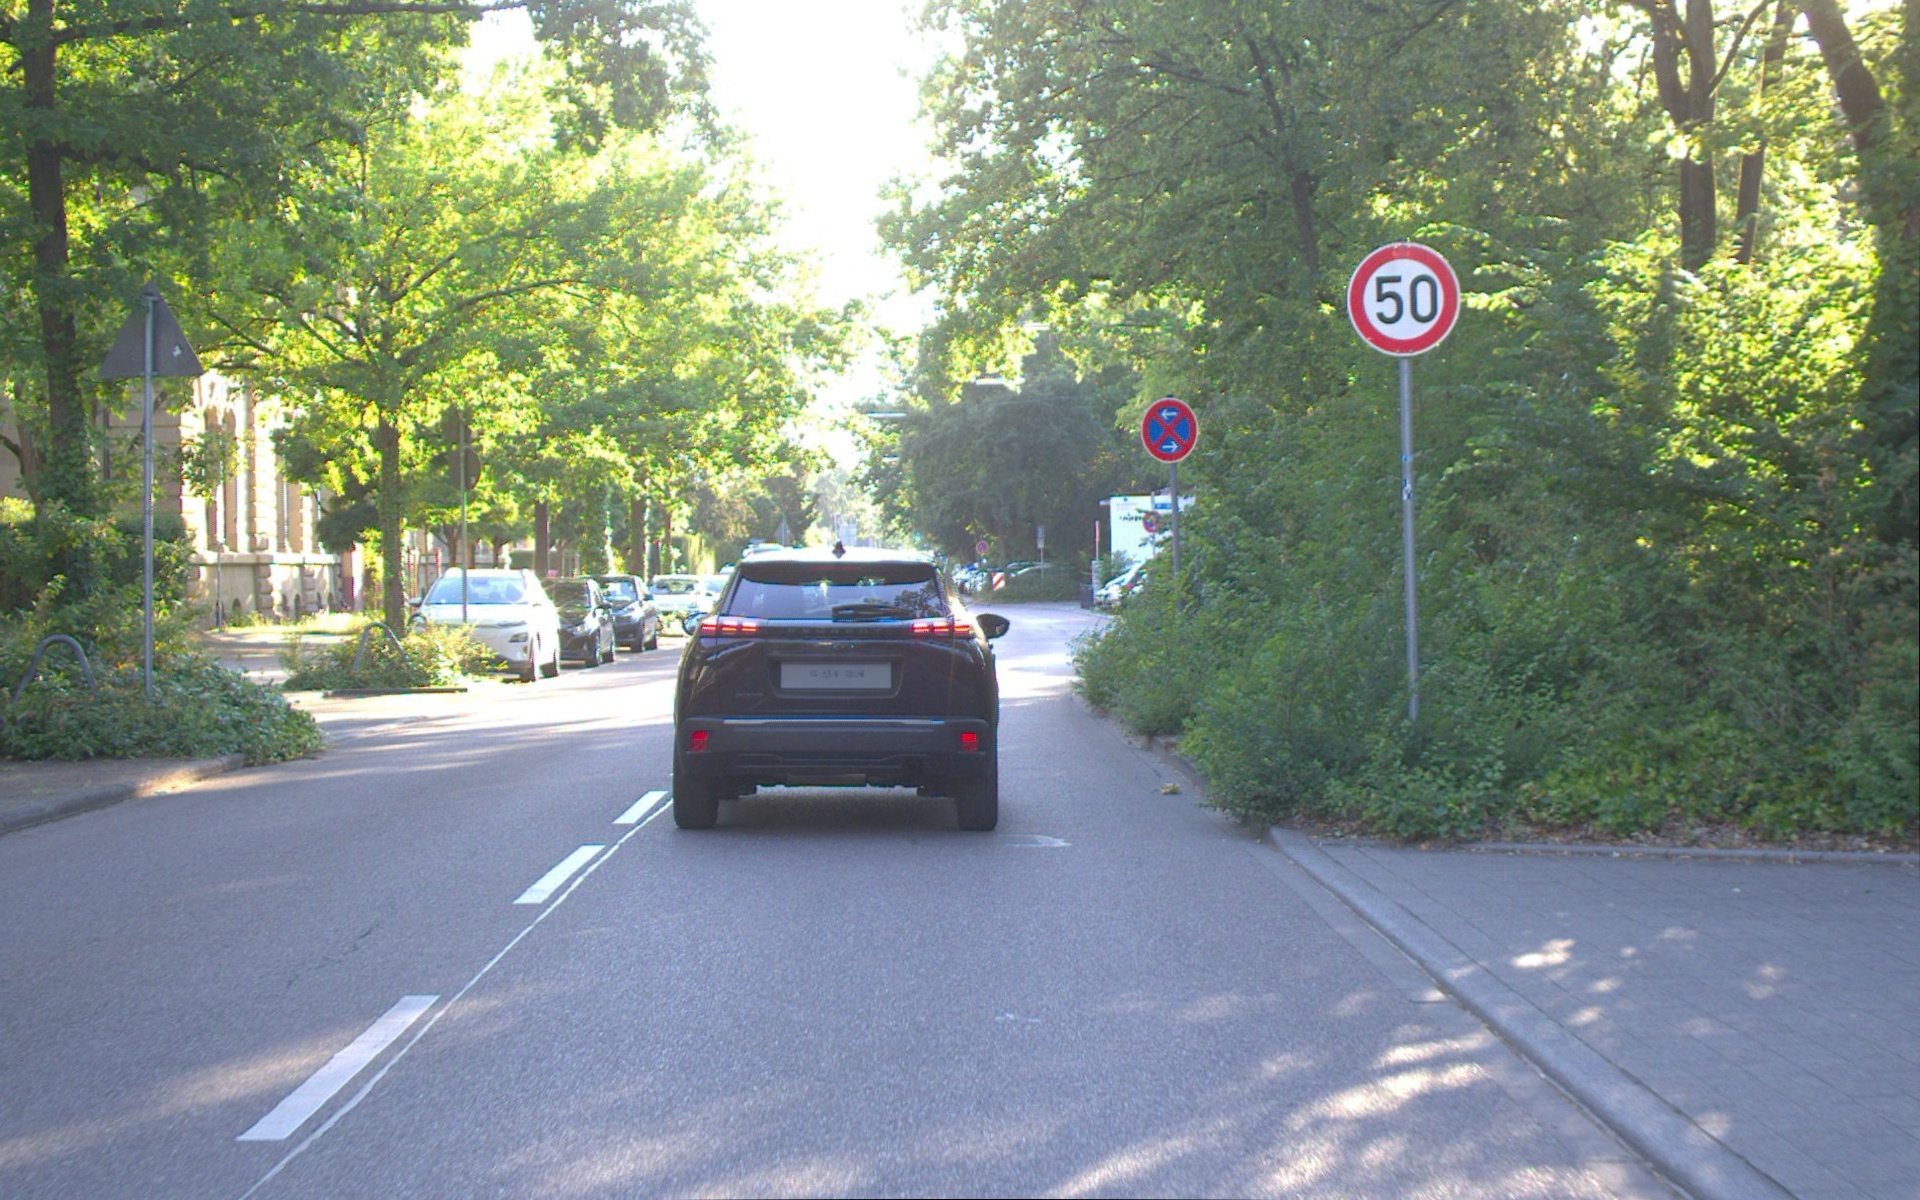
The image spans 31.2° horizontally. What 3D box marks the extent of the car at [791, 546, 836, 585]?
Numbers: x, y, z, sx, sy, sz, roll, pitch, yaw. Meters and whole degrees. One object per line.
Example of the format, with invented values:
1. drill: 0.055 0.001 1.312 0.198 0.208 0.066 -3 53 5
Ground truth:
1. car: -7.381 -1.732 173.624 1.907 1.861 3.949 2 1 2

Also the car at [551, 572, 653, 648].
1. car: -6.825 0.173 65.806 1.810 1.349 4.001 -1 1 -4

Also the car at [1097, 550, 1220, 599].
1. car: 6.786 -0.883 117.868 3.986 1.577 1.816 -1 1 -4

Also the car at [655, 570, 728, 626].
1. car: -6.892 -0.067 88.318 1.810 1.349 3.980 -1 1 -4

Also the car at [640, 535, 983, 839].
1. car: -0.798 0.423 19.530 1.768 1.563 3.381 0 1 -1

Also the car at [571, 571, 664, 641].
1. car: -7.115 0.098 71.714 1.810 1.349 4.001 -1 1 -4

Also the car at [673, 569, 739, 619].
1. car: -7.280 -0.190 98.375 1.810 1.349 4.001 -1 1 -4

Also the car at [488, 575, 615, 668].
1. car: -6.436 0.309 54.477 1.810 1.349 4.001 -1 1 -4

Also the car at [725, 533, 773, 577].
1. car: -9.373 -2.009 153.048 1.907 1.861 3.949 -1 1 -1

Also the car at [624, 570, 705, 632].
1. car: -6.941 0.008 80.958 1.810 1.349 4.001 -1 1 -4

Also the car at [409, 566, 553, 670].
1. car: -6.675 0.222 48.230 1.810 1.349 4.001 -1 1 -6
